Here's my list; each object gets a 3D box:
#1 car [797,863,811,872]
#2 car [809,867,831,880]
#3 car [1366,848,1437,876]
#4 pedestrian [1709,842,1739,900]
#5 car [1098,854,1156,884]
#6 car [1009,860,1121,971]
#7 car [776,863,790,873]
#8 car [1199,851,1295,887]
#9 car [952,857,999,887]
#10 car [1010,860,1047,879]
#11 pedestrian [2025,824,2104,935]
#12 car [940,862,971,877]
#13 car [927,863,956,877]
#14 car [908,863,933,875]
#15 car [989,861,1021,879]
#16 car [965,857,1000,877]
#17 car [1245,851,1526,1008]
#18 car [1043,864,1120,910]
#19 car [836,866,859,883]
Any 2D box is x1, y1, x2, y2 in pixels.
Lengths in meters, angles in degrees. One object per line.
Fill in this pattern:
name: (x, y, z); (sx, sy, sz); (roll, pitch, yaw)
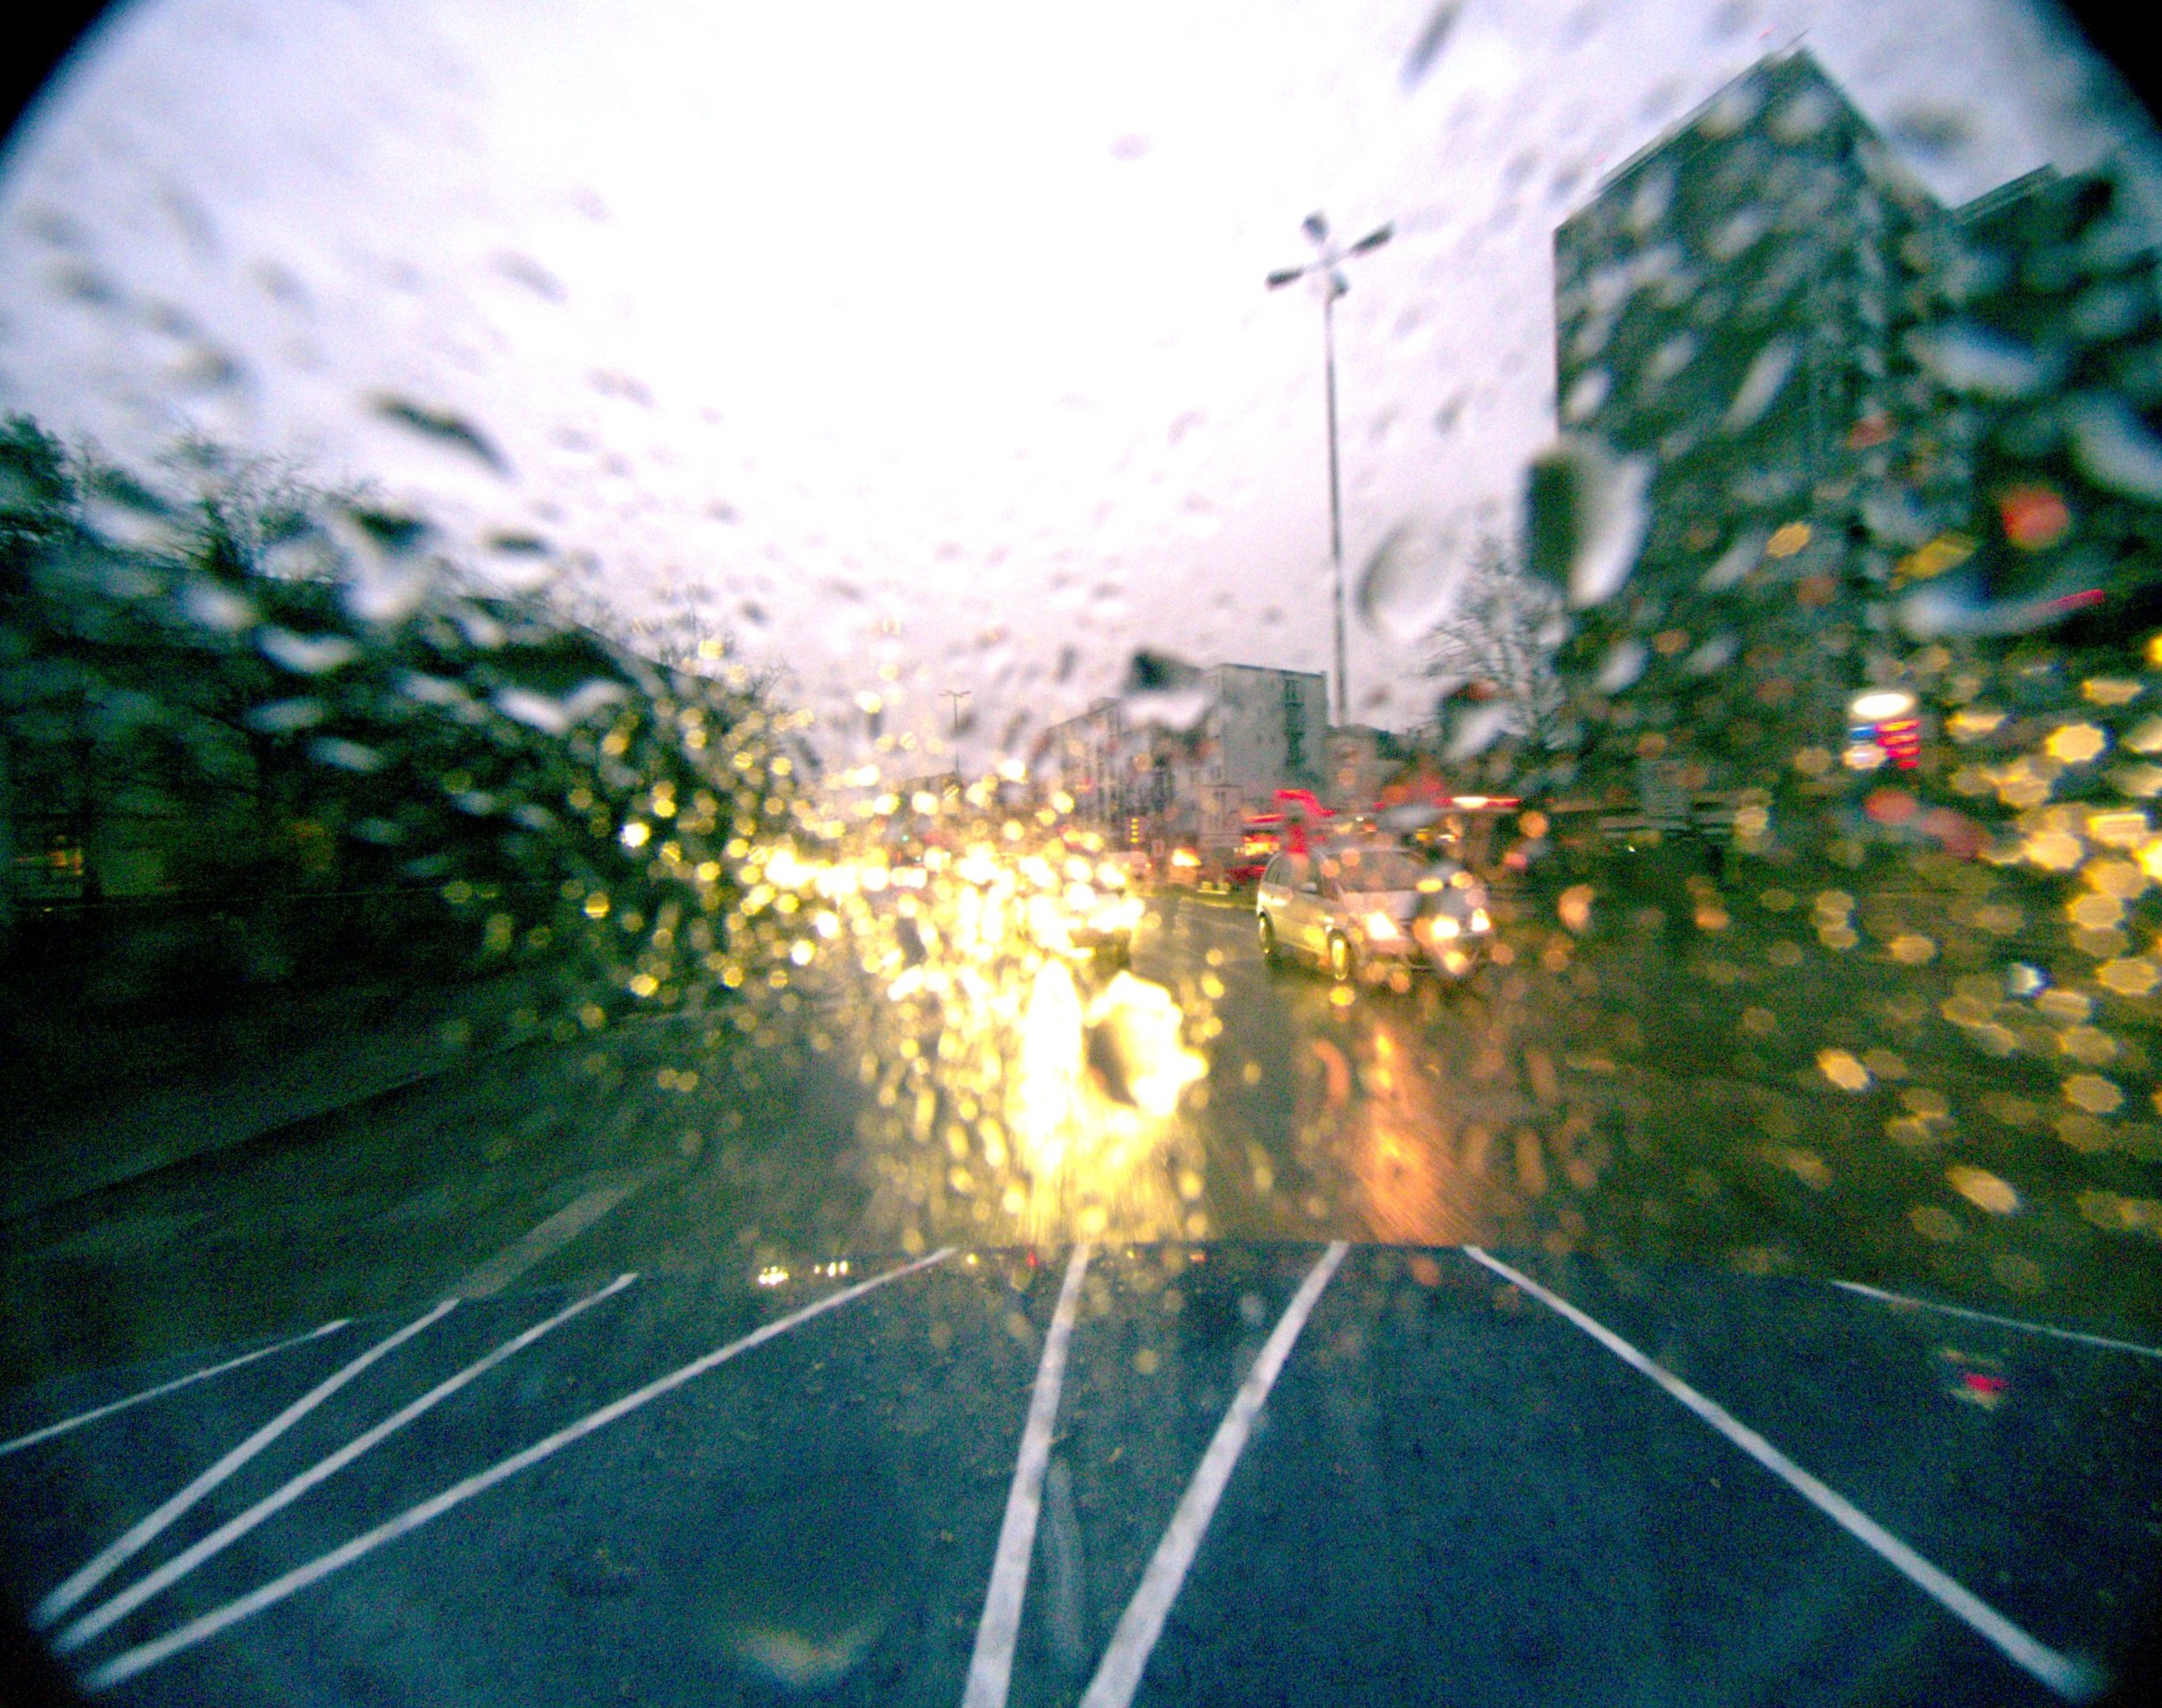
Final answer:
car: (-49.428, 2.380, 135.624); (2.002, 1.526, 3.992); (-2, 0, -25)
car: (-31.014, 2.318, 90.250); (1.971, 1.378, 4.525); (-1, -1, -26)
car: (18.542, 0.445, 43.899); (4.006, 1.521, 1.775); (-1, 0, -31)
pedestrian: (20.245, 0.528, 23.922); (0.629, 1.782, 0.531); (-3, 0, -38)
car: (3.069, 1.020, 52.122); (2.003, 1.934, 4.845); (1, -1, -24)
car: (-0.406, 0.953, 13.552); (1.650, 1.575, 3.802); (-2, 1, -5)
car: (-52.433, 2.419, 133.509); (2.002, 1.686, 3.992); (-3, 0, -25)
car: (7.343, 0.668, 33.830); (1.652, 1.441, 3.840); (-3, 1, -44)
car: (-6.523, 1.108, 46.682); (1.822, 1.732, 4.179); (-1, 0, -22)
car: (-4.200, 1.220, 59.818); (1.652, 1.478, 4.137); (-1, -1, -23)
pedestrian: (16.166, 0.405, 12.504); (0.468, 1.761, 0.628); (-2, 1, -4)
car: (-13.105, 1.595, 79.245); (1.971, 1.505, 4.525); (-1, -1, -26)
car: (-15.527, 1.786, 84.268); (1.971, 1.378, 4.525); (-1, -1, -26)
car: (-19.566, 1.886, 92.575); (1.971, 1.378, 4.525); (-1, -1, -26)
car: (-6.631, 1.362, 66.129); (1.652, 1.478, 3.993); (-1, -1, -23)
car: (-9.456, 1.250, 72.646); (1.971, 1.772, 4.525); (-1, -1, -26)
car: (3.585, 0.777, 9.854); (1.650, 1.539, 4.107); (-2, 0, -6)
car: (-0.067, 1.155, 28.110); (1.755, 1.535, 3.995); (-1, 0, -16)
car: (-28.735, 2.533, 93.355); (2.003, 2.002, 3.992); (-1, 0, -27)
